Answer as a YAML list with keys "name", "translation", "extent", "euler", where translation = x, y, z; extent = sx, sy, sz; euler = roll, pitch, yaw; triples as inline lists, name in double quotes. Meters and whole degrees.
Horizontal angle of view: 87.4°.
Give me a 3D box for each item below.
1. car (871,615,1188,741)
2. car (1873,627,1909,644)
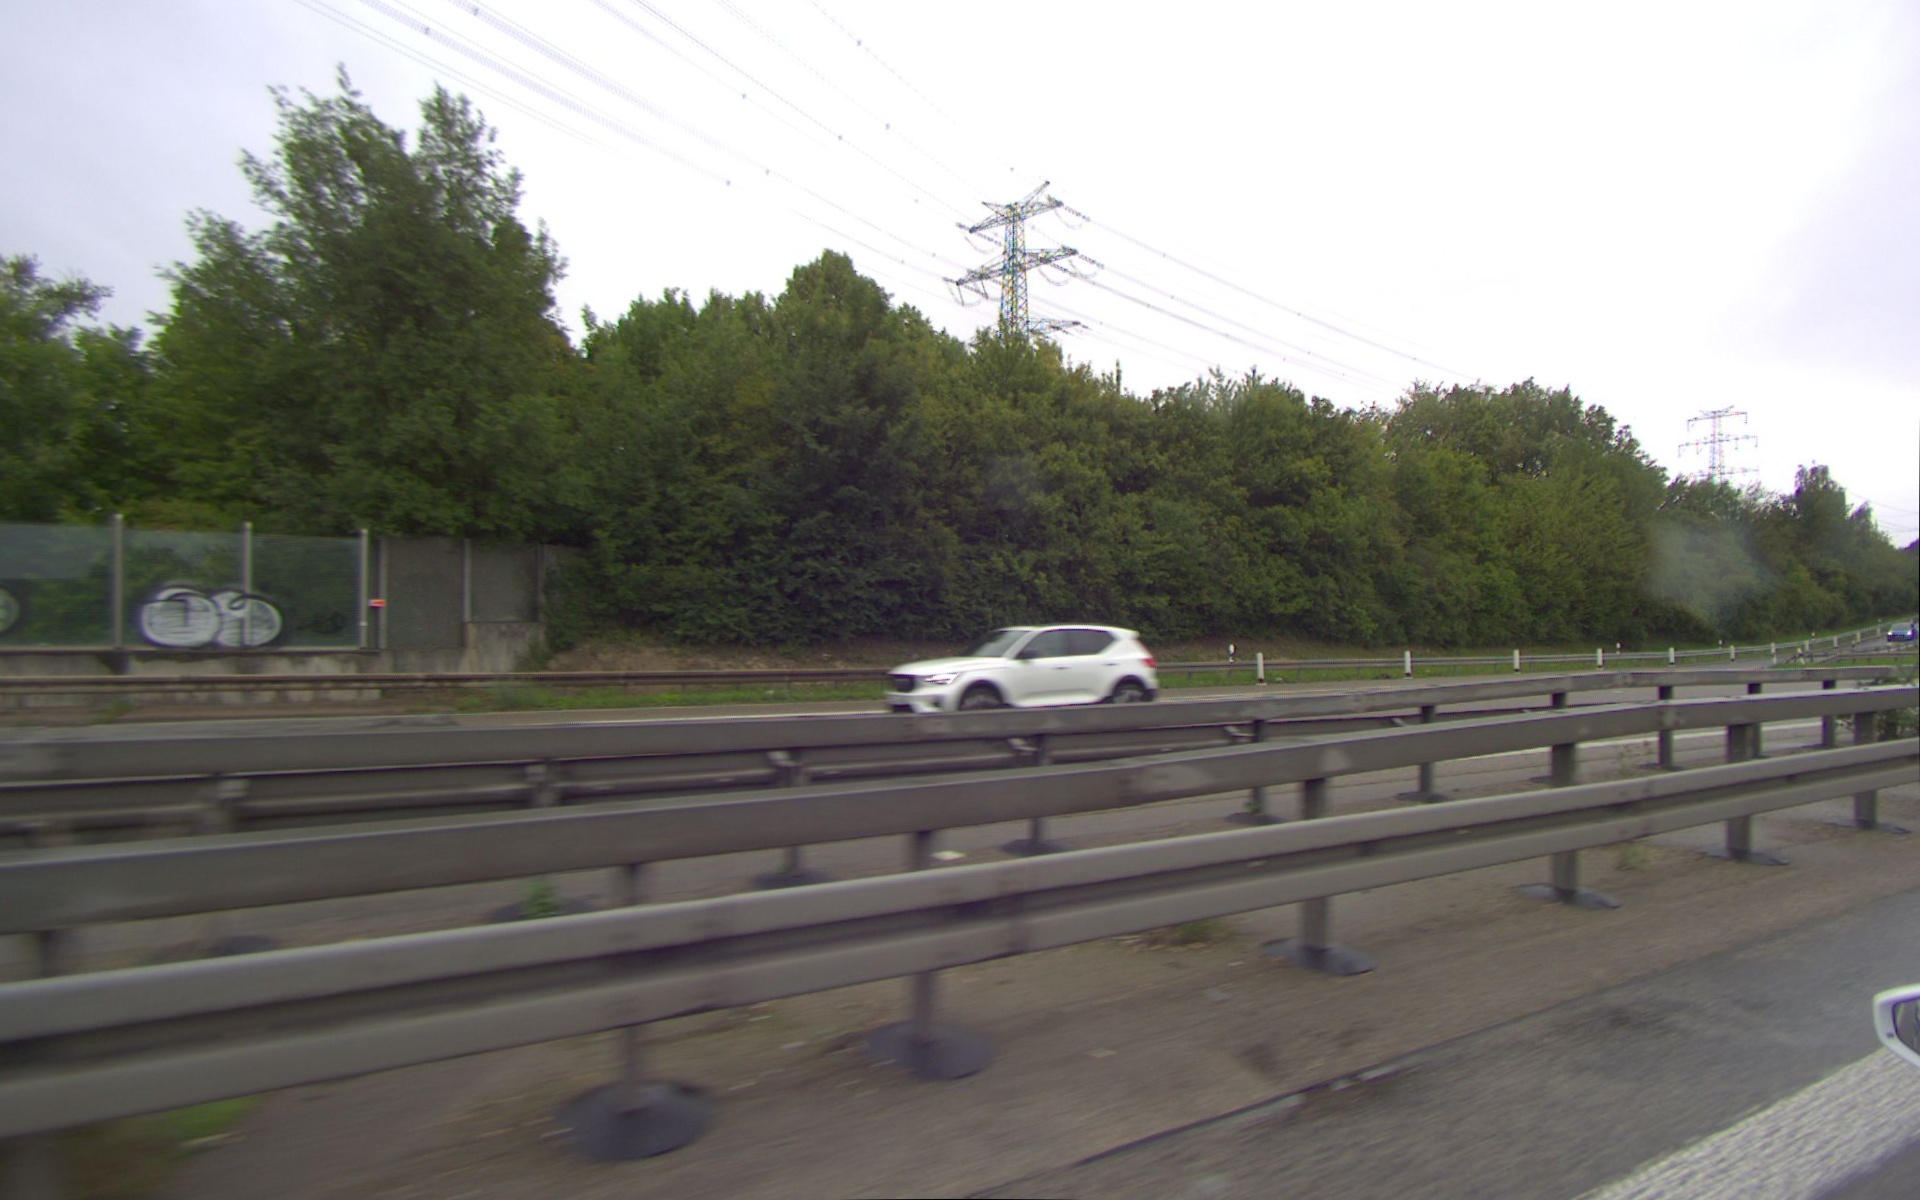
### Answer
- name: "car"
  translation: [1.136, 1.119, 15.527]
  extent: [4.659, 1.687, 1.896]
  euler: [1, -2, -31]
- name: "car"
  translation: [86.144, 3.256, 92.928]
  extent: [3.968, 1.563, 1.951]
  euler: [1, -2, -41]
